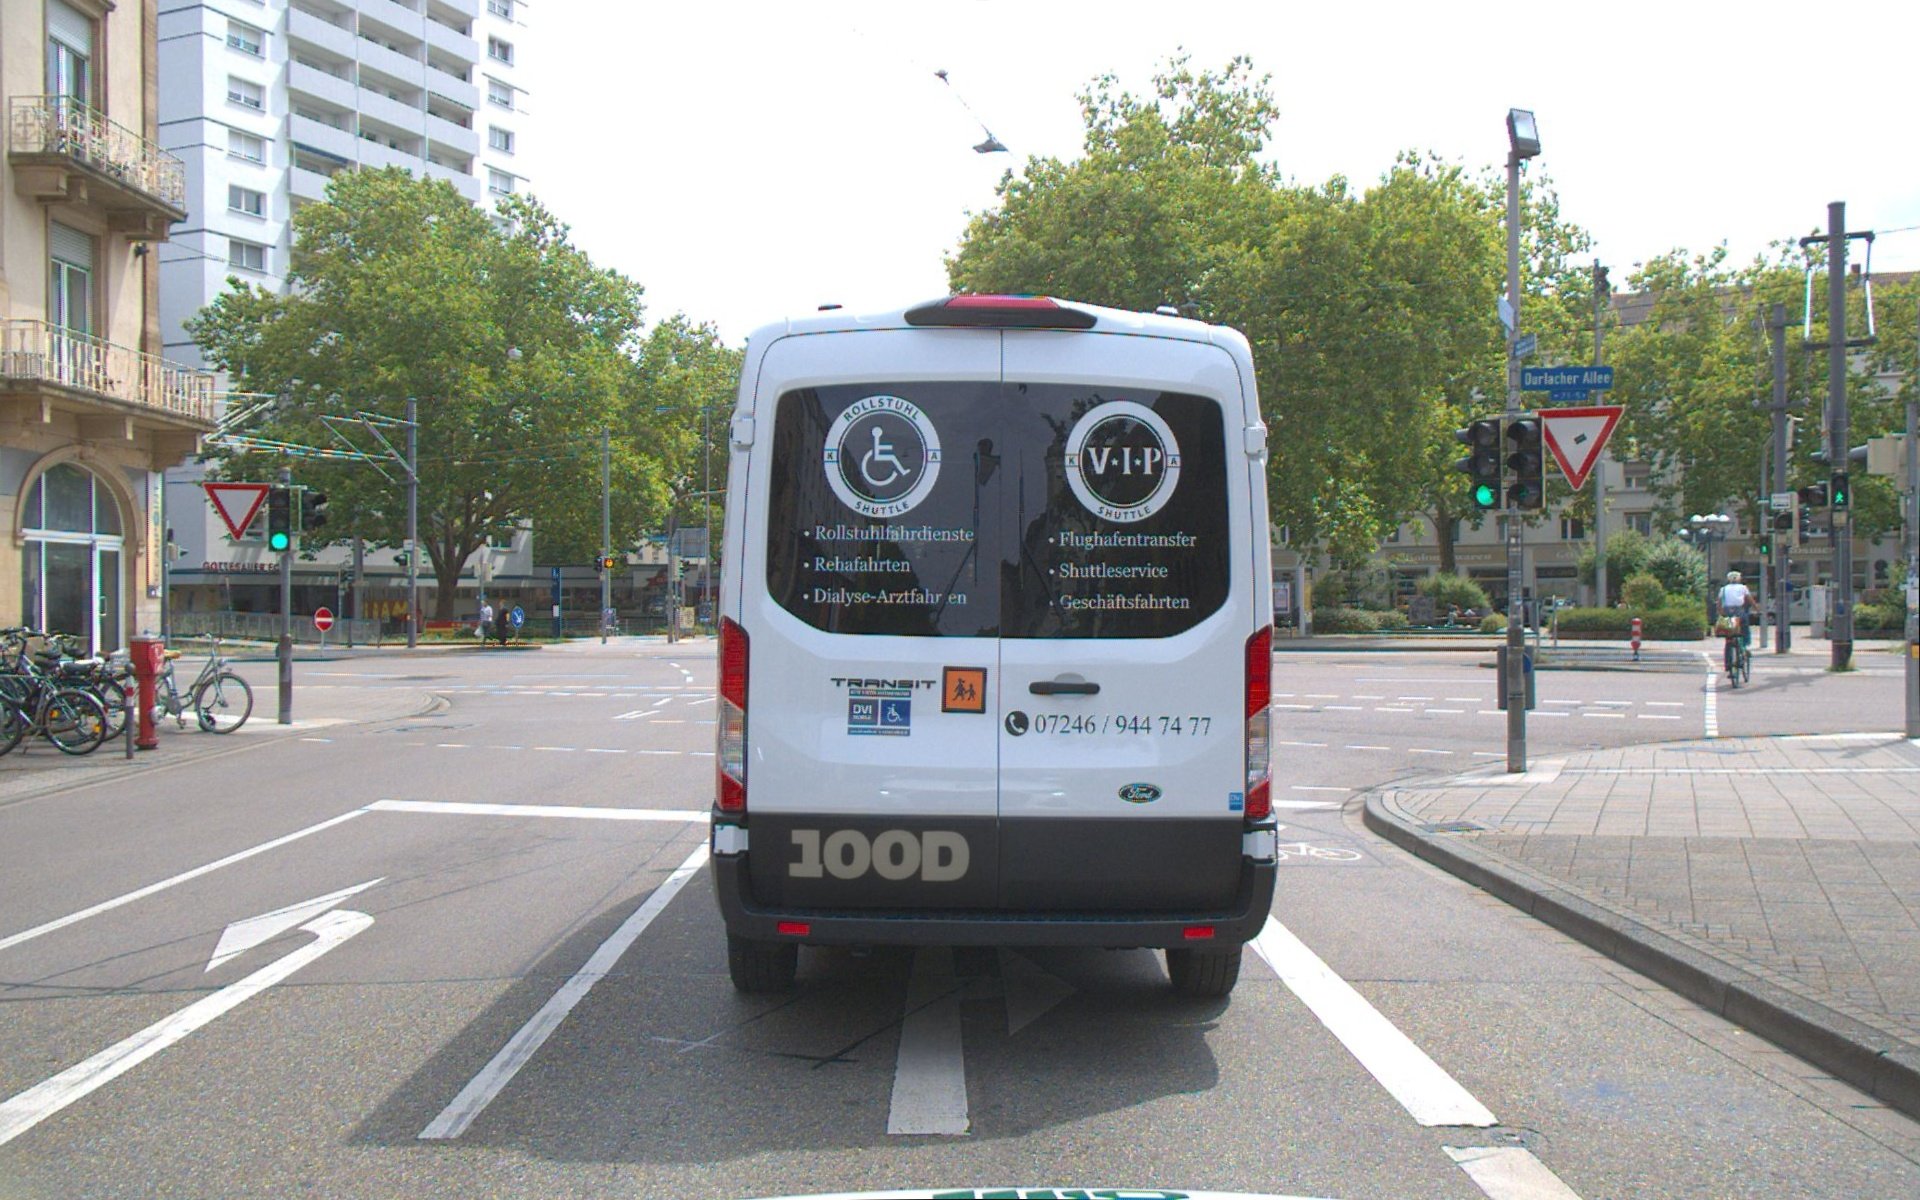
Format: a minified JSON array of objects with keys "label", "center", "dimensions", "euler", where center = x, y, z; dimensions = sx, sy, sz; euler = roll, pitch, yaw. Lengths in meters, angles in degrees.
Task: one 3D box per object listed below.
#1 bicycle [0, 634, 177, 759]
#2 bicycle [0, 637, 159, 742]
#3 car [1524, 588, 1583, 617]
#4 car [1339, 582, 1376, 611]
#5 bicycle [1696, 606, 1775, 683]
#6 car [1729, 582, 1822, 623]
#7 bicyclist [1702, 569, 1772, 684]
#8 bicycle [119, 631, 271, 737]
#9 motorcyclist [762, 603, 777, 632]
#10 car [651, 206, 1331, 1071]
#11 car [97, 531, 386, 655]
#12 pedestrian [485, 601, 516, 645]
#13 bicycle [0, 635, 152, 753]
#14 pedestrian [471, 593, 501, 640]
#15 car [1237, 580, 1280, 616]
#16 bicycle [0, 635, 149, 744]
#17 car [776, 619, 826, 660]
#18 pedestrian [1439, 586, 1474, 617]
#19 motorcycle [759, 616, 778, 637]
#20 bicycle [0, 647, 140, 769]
[{"label":"bicycle","center":[-9.056,0.976,16.910],"dimensions":[1.771,1.140,0.594],"euler":[3,0,3]},{"label":"bicycle","center":[-10.228,1.021,18.939],"dimensions":[1.775,1.140,0.593],"euler":[2,0,-9]},{"label":"car","center":[31.739,0.120,88.533],"dimensions":[1.951,1.529,4.002],"euler":[-1,0,4]},{"label":"car","center":[24.777,-0.230,102.956],"dimensions":[1.767,1.713,4.000],"euler":[-1,0,21]},{"label":"bicycle","center":[11.830,0.659,25.206],"dimensions":[0.886,1.094,1.965],"euler":[0,0,31]},{"label":"car","center":[39.082,0.134,79.355],"dimensions":[3.907,1.916,1.857],"euler":[-1,0,24]},{"label":"bicyclist","center":[11.787,0.393,25.087],"dimensions":[0.887,1.713,0.755],"euler":[0,0,31]},{"label":"bicycle","center":[-9.290,0.997,20.068],"dimensions":[1.836,1.187,0.498],"euler":[2,0,20]},{"label":"motorcyclist","center":[-9.586,0.889,83.190],"dimensions":[0.669,1.420,0.681],"euler":[-1,0,-1]},{"label":"car","center":[0.028,0.098,7.506],"dimensions":[2.138,2.694,4.626],"euler":[0,0,-2]},{"label":"car","center":[-24.604,-0.214,56.558],"dimensions":[9.686,3.984,3.454],"euler":[0,0,24]},{"label":"pedestrian","center":[-16.288,0.812,58.609],"dimensions":[0.718,1.541,0.917],"euler":[-1,0,-44]},{"label":"bicycle","center":[-9.683,0.993,17.638],"dimensions":[1.775,1.186,0.593],"euler":[2,0,-9]},{"label":"pedestrian","center":[-16.509,0.568,57.584],"dimensions":[0.718,1.600,0.797],"euler":[-1,0,-44]},{"label":"car","center":[17.097,-0.126,94.912],"dimensions":[1.951,1.964,4.002],"euler":[-1,0,4]},{"label":"bicycle","center":[-10.013,0.983,18.245],"dimensions":[1.775,1.140,0.593],"euler":[2,0,-9]},{"label":"car","center":[-6.549,1.615,68.331],"dimensions":[1.559,1.534,3.808],"euler":[-1,0,2]},{"label":"pedestrian","center":[21.195,0.056,70.596],"dimensions":[1.068,1.257,1.441],"euler":[-2,-1,4]},{"label":"motorcycle","center":[-9.570,1.315,82.705],"dimensions":[0.669,0.988,2.323],"euler":[-1,0,0]},{"label":"bicycle","center":[-9.089,1.057,16.273],"dimensions":[1.771,1.140,0.594],"euler":[-1,0,6]}]
